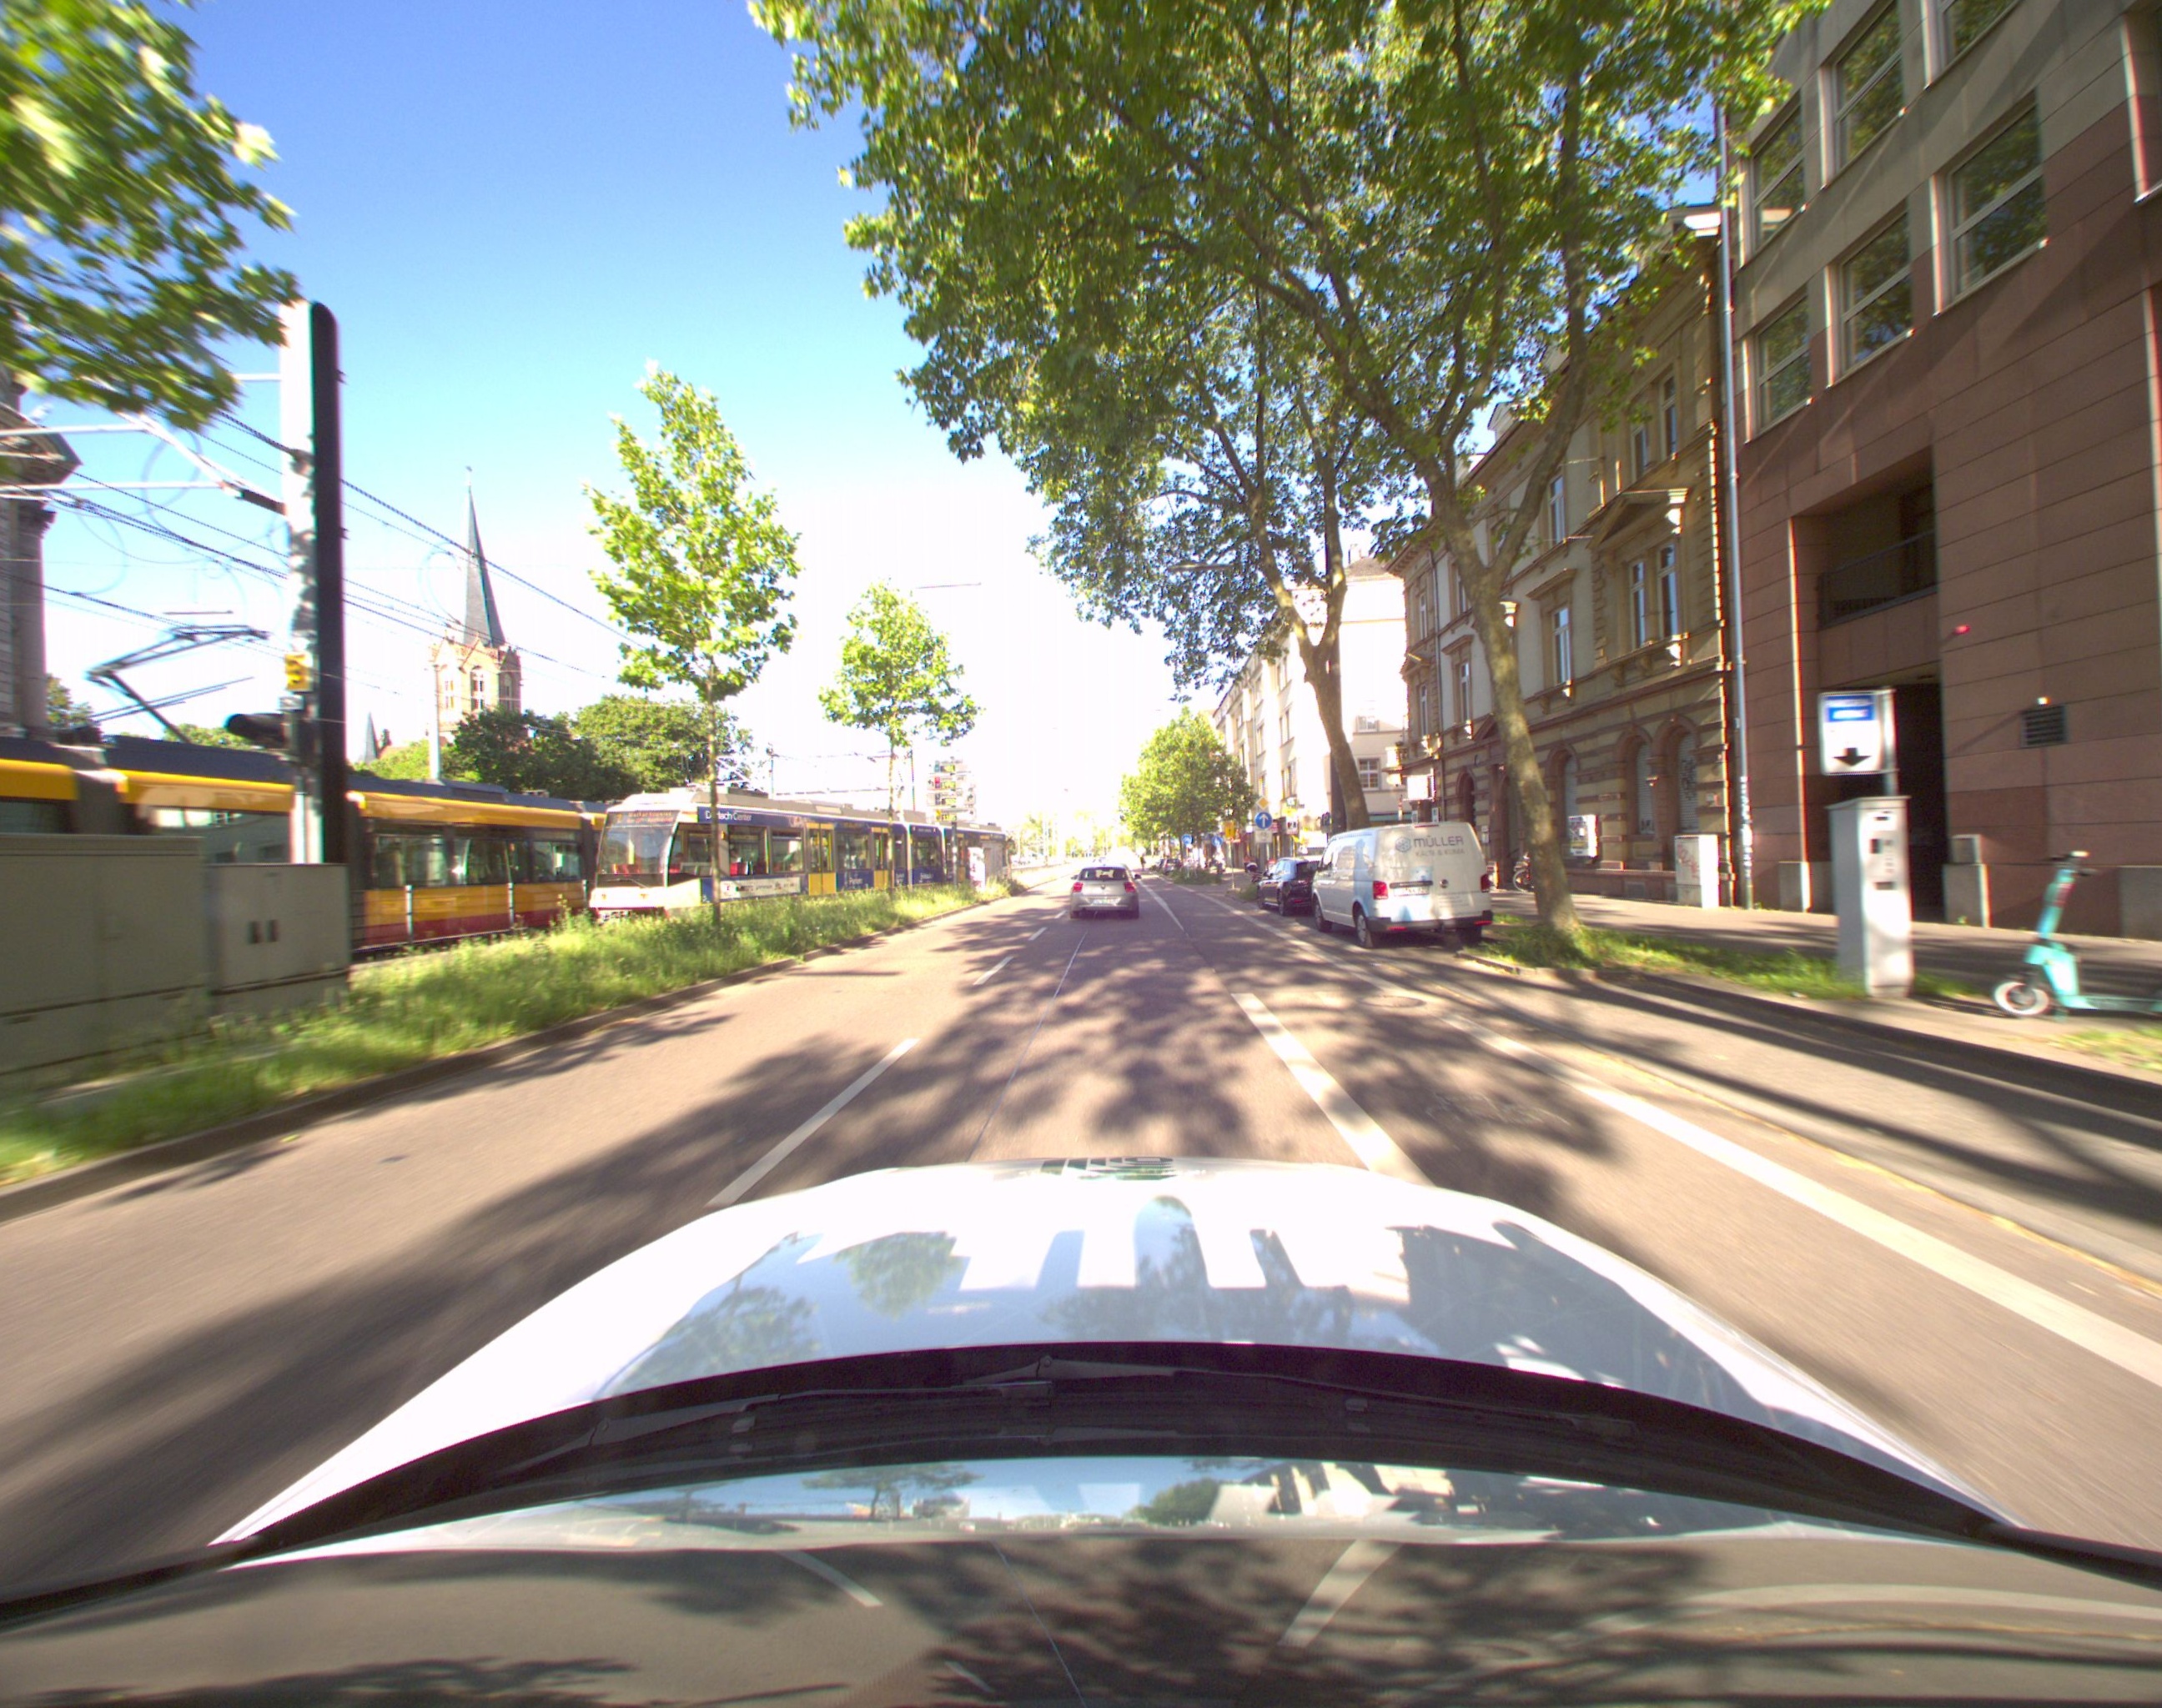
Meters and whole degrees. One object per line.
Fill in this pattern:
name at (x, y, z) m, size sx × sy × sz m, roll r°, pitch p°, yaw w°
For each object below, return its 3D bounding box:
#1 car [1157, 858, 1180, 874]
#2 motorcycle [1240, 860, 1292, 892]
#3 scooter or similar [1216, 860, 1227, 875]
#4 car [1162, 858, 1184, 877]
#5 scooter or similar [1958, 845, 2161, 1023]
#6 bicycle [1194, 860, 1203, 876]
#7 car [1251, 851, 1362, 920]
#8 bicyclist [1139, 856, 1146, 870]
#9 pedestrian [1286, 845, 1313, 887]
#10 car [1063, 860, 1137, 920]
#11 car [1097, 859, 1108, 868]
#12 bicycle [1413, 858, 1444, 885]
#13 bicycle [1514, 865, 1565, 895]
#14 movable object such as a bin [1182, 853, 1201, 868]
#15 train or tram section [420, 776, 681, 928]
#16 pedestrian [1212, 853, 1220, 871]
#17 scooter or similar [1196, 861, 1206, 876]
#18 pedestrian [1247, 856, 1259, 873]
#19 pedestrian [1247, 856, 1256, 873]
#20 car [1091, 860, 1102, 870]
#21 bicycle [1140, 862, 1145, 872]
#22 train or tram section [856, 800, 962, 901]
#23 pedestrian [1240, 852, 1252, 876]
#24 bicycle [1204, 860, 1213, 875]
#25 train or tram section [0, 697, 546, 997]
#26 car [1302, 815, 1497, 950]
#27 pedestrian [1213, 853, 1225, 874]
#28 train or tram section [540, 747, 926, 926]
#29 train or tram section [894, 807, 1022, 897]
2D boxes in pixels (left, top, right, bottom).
car at (8.684, 1.141, 80.941) m, size 2.030 × 1.509 × 4.597 m, roll -1°, pitch 0°, yaw 3°
motorcycle at (7.355, 0.873, 32.362) m, size 1.943 × 1.231 × 0.515 m, roll 0°, pitch -1°, yaw -1°
scooter or similar at (11.402, 1.060, 66.094) m, size 0.742 × 1.172 × 0.849 m, roll -2°, pitch -1°, yaw -1°
car at (8.256, 1.168, 73.355) m, size 1.688 × 1.502 × 3.804 m, roll -4°, pitch 0°, yaw 3°
scooter or similar at (7.586, 0.574, 6.059) m, size 1.534 × 1.237 × 0.449 m, roll -2°, pitch -1°, yaw 3°
bicycle at (9.330, 1.127, 64.716) m, size 0.391 × 1.215 × 1.902 m, roll -3°, pitch -2°, yaw -1°
car at (5.832, 0.766, 21.647) m, size 1.811 × 1.515 × 4.711 m, roll -3°, pitch -1°, yaw 3°
bicyclist at (6.992, 1.012, 92.544) m, size 0.782 × 1.531 × 0.895 m, roll 0°, pitch -2°, yaw 3°
pedestrian at (10.609, 0.576, 39.612) m, size 1.083 × 2.014 × 1.047 m, roll 0°, pitch -1°, yaw 3°
car at (0.577, 0.905, 22.041) m, size 1.790 × 1.415 × 4.003 m, roll -2°, pitch 0°, yaw 3°
car at (3.655, 1.578, 137.419) m, size 1.638 × 1.421 × 4.003 m, roll 0°, pitch -1°, yaw 3°
bicycle at (12.994, 0.646, 30.460) m, size 0.413 × 0.997 × 1.883 m, roll -1°, pitch -1°, yaw 3°
bicycle at (12.929, 0.716, 23.014) m, size 0.546 × 0.773 × 1.664 m, roll -3°, pitch -1°, yaw 2°
movable object such as a bin at (14.969, 0.848, 110.165) m, size 1.941 × 1.843 × 3.476 m, roll -2°, pitch 1°, yaw -3°
train or tram section at (-13.769, -0.037, 21.883) m, size 2.946 × 3.484 × 6.060 m, roll 0°, pitch 0°, yaw 1°
pedestrian at (12.867, 0.746, 77.564) m, size 0.555 × 1.711 × 0.771 m, roll -2°, pitch -1°, yaw 3°
scooter or similar at (9.807, 1.172, 66.711) m, size 0.376 × 1.196 × 1.583 m, roll -2°, pitch -1°, yaw 23°
pedestrian at (13.840, 0.854, 65.444) m, size 0.782 × 1.369 × 0.857 m, roll -2°, pitch -1°, yaw 3°
pedestrian at (13.852, 0.859, 66.329) m, size 0.533 × 1.332 × 0.821 m, roll -2°, pitch -1°, yaw 3°
car at (2.407, 1.761, 129.297) m, size 1.721 × 1.470 × 4.410 m, roll -1°, pitch -1°, yaw 0°
bicycle at (7.002, 1.483, 92.448) m, size 0.497 × 1.088 × 1.998 m, roll 0°, pitch -1°, yaw 3°
train or tram section at (-6.970, -0.108, 33.509) m, size 2.936 × 3.897 × 3.877 m, roll 0°, pitch -1°, yaw 11°
pedestrian at (11.584, 0.692, 57.069) m, size 0.679 × 1.621 × 0.562 m, roll -1°, pitch -1°, yaw 0°
bicycle at (10.249, 1.087, 65.576) m, size 0.382 × 1.207 × 1.882 m, roll -2°, pitch -1°, yaw 18°
train or tram section at (-14.047, -0.079, 8.186) m, size 2.953 × 3.484 × 21.222 m, roll 0°, pitch 0°, yaw 1°
car at (5.410, 0.442, 14.562) m, size 1.848 × 2.014 × 4.727 m, roll 0°, pitch -1°, yaw 3°
pedestrian at (11.385, 0.793, 67.242) m, size 0.856 × 1.705 × 0.917 m, roll -2°, pitch -1°, yaw 0°
train or tram section at (-8.894, -0.308, 24.575) m, size 2.909 × 3.812 × 14.320 m, roll 0°, pitch -1°, yaw 12°
train or tram section at (-5.753, -0.041, 40.808) m, size 2.934 × 3.897 × 10.833 m, roll 0°, pitch -1°, yaw 10°
